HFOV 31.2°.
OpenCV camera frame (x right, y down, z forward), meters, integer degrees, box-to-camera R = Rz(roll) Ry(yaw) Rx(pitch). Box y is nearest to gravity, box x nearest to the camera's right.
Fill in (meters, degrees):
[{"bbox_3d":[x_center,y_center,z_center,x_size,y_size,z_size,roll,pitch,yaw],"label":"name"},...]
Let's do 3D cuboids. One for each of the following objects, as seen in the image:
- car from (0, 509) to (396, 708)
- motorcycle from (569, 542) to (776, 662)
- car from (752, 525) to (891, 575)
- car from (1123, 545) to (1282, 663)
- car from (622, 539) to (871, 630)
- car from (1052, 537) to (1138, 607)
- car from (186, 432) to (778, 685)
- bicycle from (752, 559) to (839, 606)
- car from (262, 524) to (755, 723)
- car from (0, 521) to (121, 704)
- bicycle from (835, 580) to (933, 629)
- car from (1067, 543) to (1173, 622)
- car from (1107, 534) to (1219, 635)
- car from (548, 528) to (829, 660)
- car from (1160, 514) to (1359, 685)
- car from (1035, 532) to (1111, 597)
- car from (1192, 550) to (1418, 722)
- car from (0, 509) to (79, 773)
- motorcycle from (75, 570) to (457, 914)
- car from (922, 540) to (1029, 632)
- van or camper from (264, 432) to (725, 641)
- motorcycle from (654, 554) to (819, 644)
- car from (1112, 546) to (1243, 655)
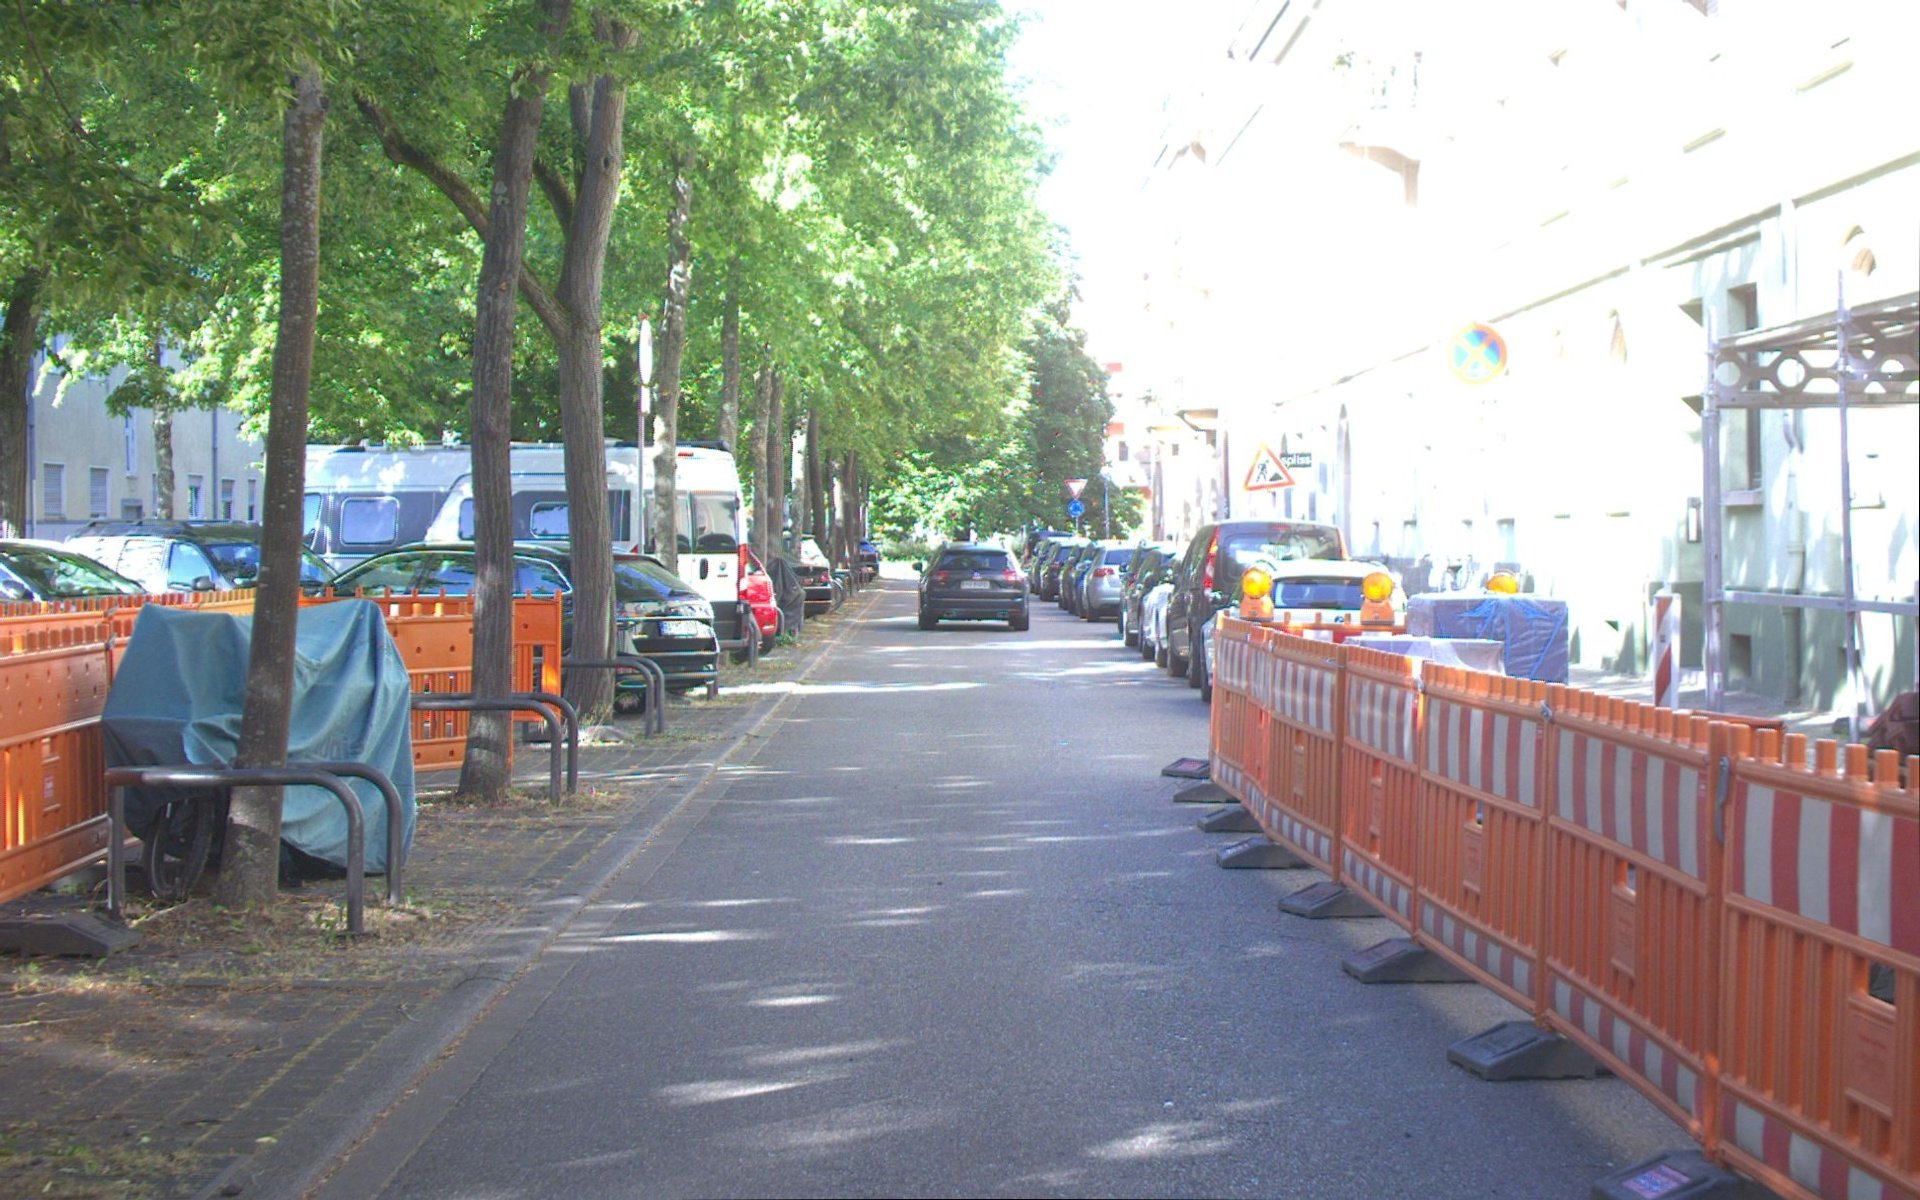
[{"bbox_3d":[-7.934,0.046,35.226,4.381,1.908,1.995,1,1,43],"label":"car"},{"bbox_3d":[-3.382,0.020,40.303,2.318,1.330,0.969,2,1,-9],"label":"motorcycle"},{"bbox_3d":[-4.362,-1.563,107.919,4.087,1.461,1.867,1,0,-12],"label":"car"},{"bbox_3d":[3.042,0.010,43.874,1.607,1.415,4.569,0,1,-1],"label":"car"},{"bbox_3d":[-3.607,-0.254,57.754,4.015,1.469,1.623,0,1,35],"label":"car"},{"bbox_3d":[2.930,-0.633,75.269,1.692,1.463,4.005,1,1,0],"label":"car"},{"bbox_3d":[-5.253,-0.474,37.350,6.319,2.550,2.334,1,0,32],"label":"car"},{"bbox_3d":[-3.488,-0.372,72.957,1.812,0.990,0.425,0,1,15],"label":"bicycle"},{"bbox_3d":[-3.959,0.155,29.920,4.094,1.520,1.699,2,3,31],"label":"car"},{"bbox_3d":[-8.564,0.051,28.350,2.949,1.448,1.243,2,1,17],"label":"car"},{"bbox_3d":[-1.491,0.080,67.359,1.900,0.916,0.379,2,1,20],"label":"bicycle"},{"bbox_3d":[2.986,-0.360,64.839,1.770,1.426,4.291,0,1,0],"label":"car"},{"bbox_3d":[3.199,-0.272,54.749,1.580,1.545,4.041,1,1,1],"label":"car"},{"bbox_3d":[-3.544,-0.099,44.416,1.659,1.612,3.879,-2,1,-40],"label":"car"},{"bbox_3d":[3.271,-0.040,38.209,1.771,1.787,3.990,0,1,-1],"label":"car"},{"bbox_3d":[2.770,-0.898,85.011,1.805,1.558,4.320,-1,1,1],"label":"car"},{"bbox_3d":[3.209,0.288,32.662,1.704,1.506,4.284,0,1,0],"label":"car"},{"bbox_3d":[-7.819,0.266,21.786,4.125,1.620,1.696,0,1,23],"label":"car"},{"bbox_3d":[-2.874,0.543,14.514,0.631,1.320,2.227,1,1,15],"label":"motorcycle"},{"bbox_3d":[0.291,-0.260,58.212,1.714,1.478,4.144,-1,1,1],"label":"car"},{"bbox_3d":[-6.698,-0.944,49.197,6.296,2.815,2.404,2,1,29],"label":"van or camper"},{"bbox_3d":[-3.124,-0.017,48.129,2.148,1.225,0.881,1,1,9],"label":"motorcycle"},{"bbox_3d":[3.100,-0.026,49.591,1.599,1.487,3.967,0,1,0],"label":"car"}]
